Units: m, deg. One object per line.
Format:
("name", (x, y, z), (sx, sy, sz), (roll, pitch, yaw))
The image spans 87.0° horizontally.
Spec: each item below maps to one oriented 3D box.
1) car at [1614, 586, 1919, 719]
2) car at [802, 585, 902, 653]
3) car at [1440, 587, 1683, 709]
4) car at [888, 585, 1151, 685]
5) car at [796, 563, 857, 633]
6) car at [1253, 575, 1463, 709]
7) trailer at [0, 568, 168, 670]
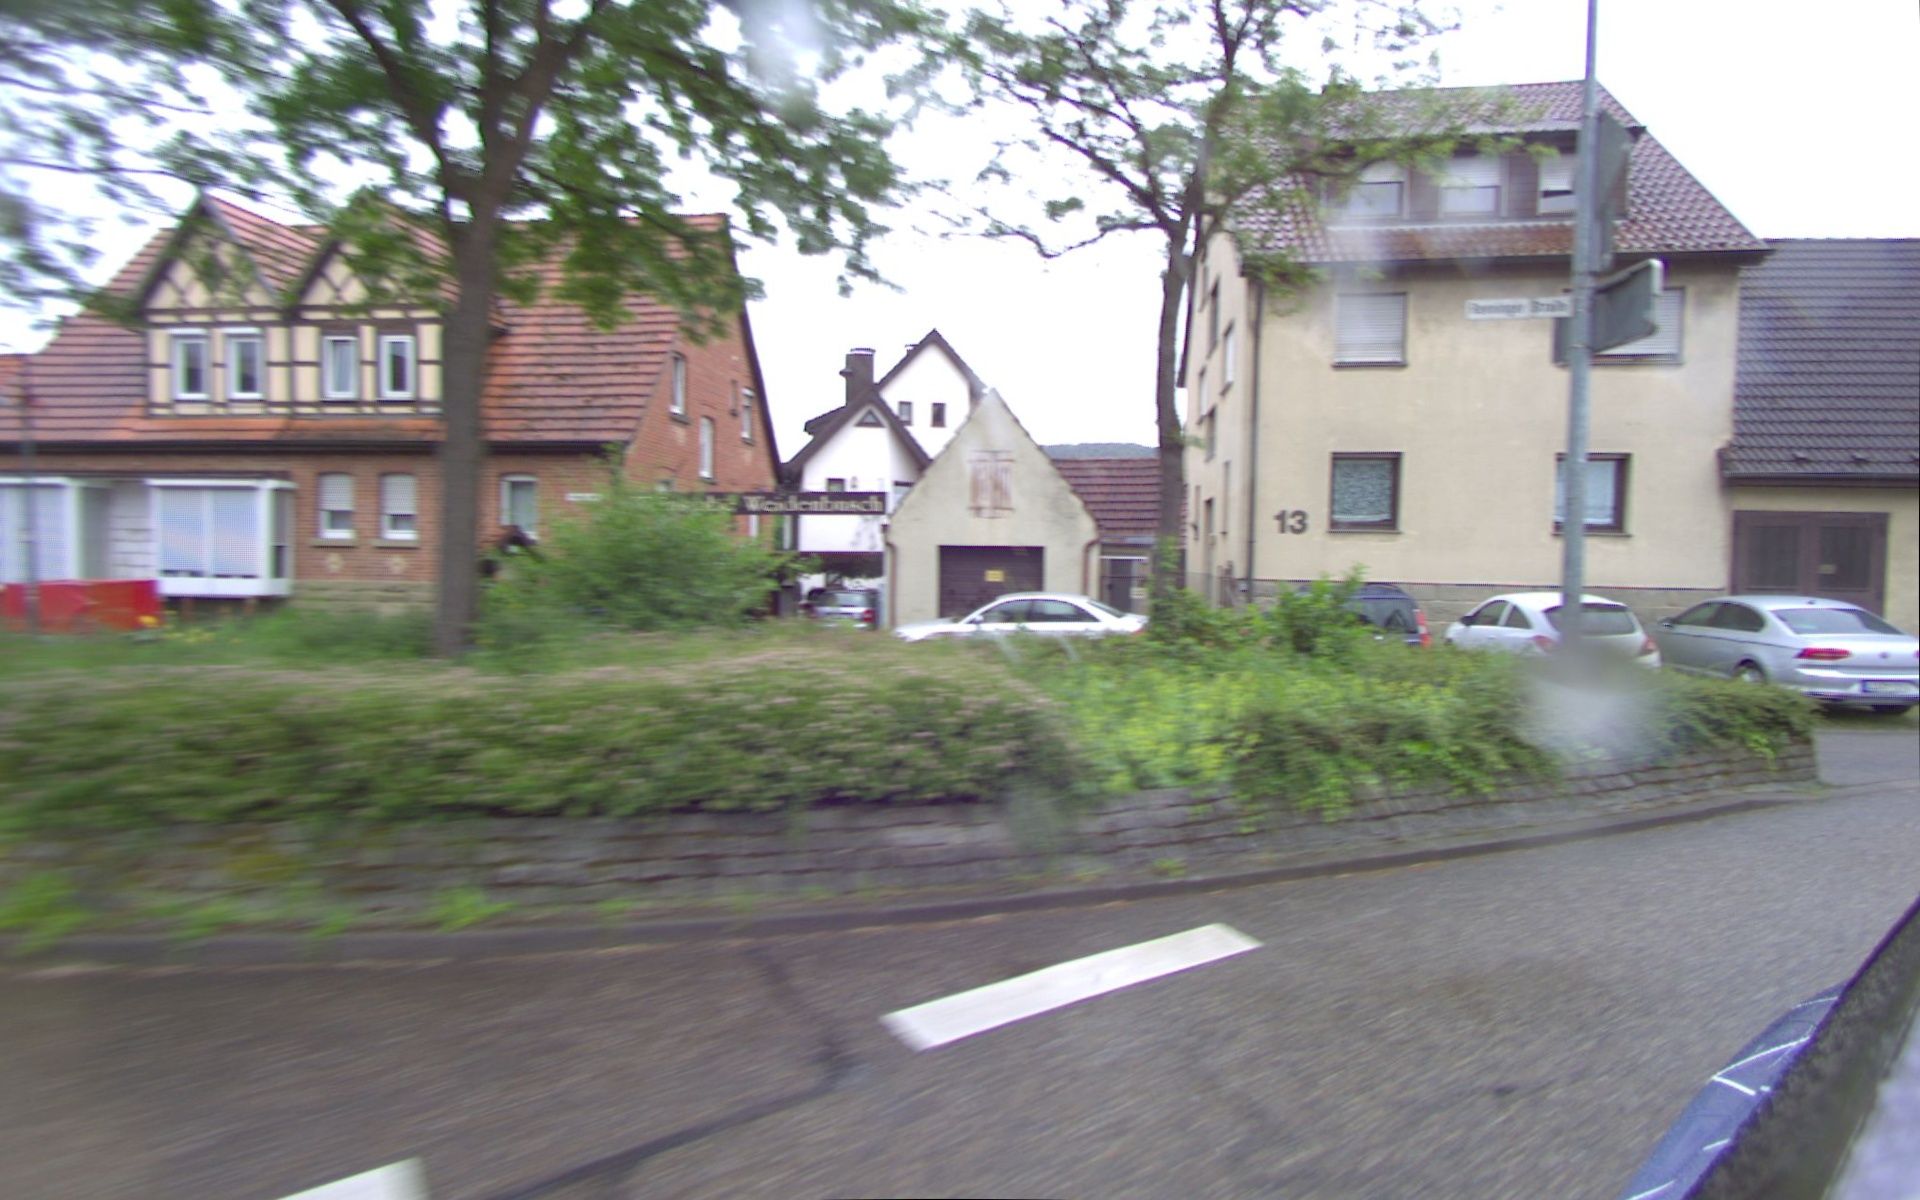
("car", (11.452, 0.592, 14.296), (1.789, 1.432, 4.622), (1, 2, 6))
("car", (-2.559, 0.420, 24.872), (1.574, 1.515, 3.992), (0, 0, 7))
("car", (8.643, 0.600, 14.895), (1.688, 1.548, 3.428), (0, 1, 4))
("car", (1.033, 0.530, 17.112), (4.194, 1.456, 1.904), (1, 2, 9))
("car", (-4.121, -0.091, 31.671), (1.568, 2.039, 4.003), (0, 1, -3))
("car", (5.826, 0.510, 15.362), (1.716, 1.601, 4.001), (-1, 3, 2))
("trailer", (-15.669, 0.307, 17.778), (2.684, 1.670, 1.406), (1, 0, 13))
